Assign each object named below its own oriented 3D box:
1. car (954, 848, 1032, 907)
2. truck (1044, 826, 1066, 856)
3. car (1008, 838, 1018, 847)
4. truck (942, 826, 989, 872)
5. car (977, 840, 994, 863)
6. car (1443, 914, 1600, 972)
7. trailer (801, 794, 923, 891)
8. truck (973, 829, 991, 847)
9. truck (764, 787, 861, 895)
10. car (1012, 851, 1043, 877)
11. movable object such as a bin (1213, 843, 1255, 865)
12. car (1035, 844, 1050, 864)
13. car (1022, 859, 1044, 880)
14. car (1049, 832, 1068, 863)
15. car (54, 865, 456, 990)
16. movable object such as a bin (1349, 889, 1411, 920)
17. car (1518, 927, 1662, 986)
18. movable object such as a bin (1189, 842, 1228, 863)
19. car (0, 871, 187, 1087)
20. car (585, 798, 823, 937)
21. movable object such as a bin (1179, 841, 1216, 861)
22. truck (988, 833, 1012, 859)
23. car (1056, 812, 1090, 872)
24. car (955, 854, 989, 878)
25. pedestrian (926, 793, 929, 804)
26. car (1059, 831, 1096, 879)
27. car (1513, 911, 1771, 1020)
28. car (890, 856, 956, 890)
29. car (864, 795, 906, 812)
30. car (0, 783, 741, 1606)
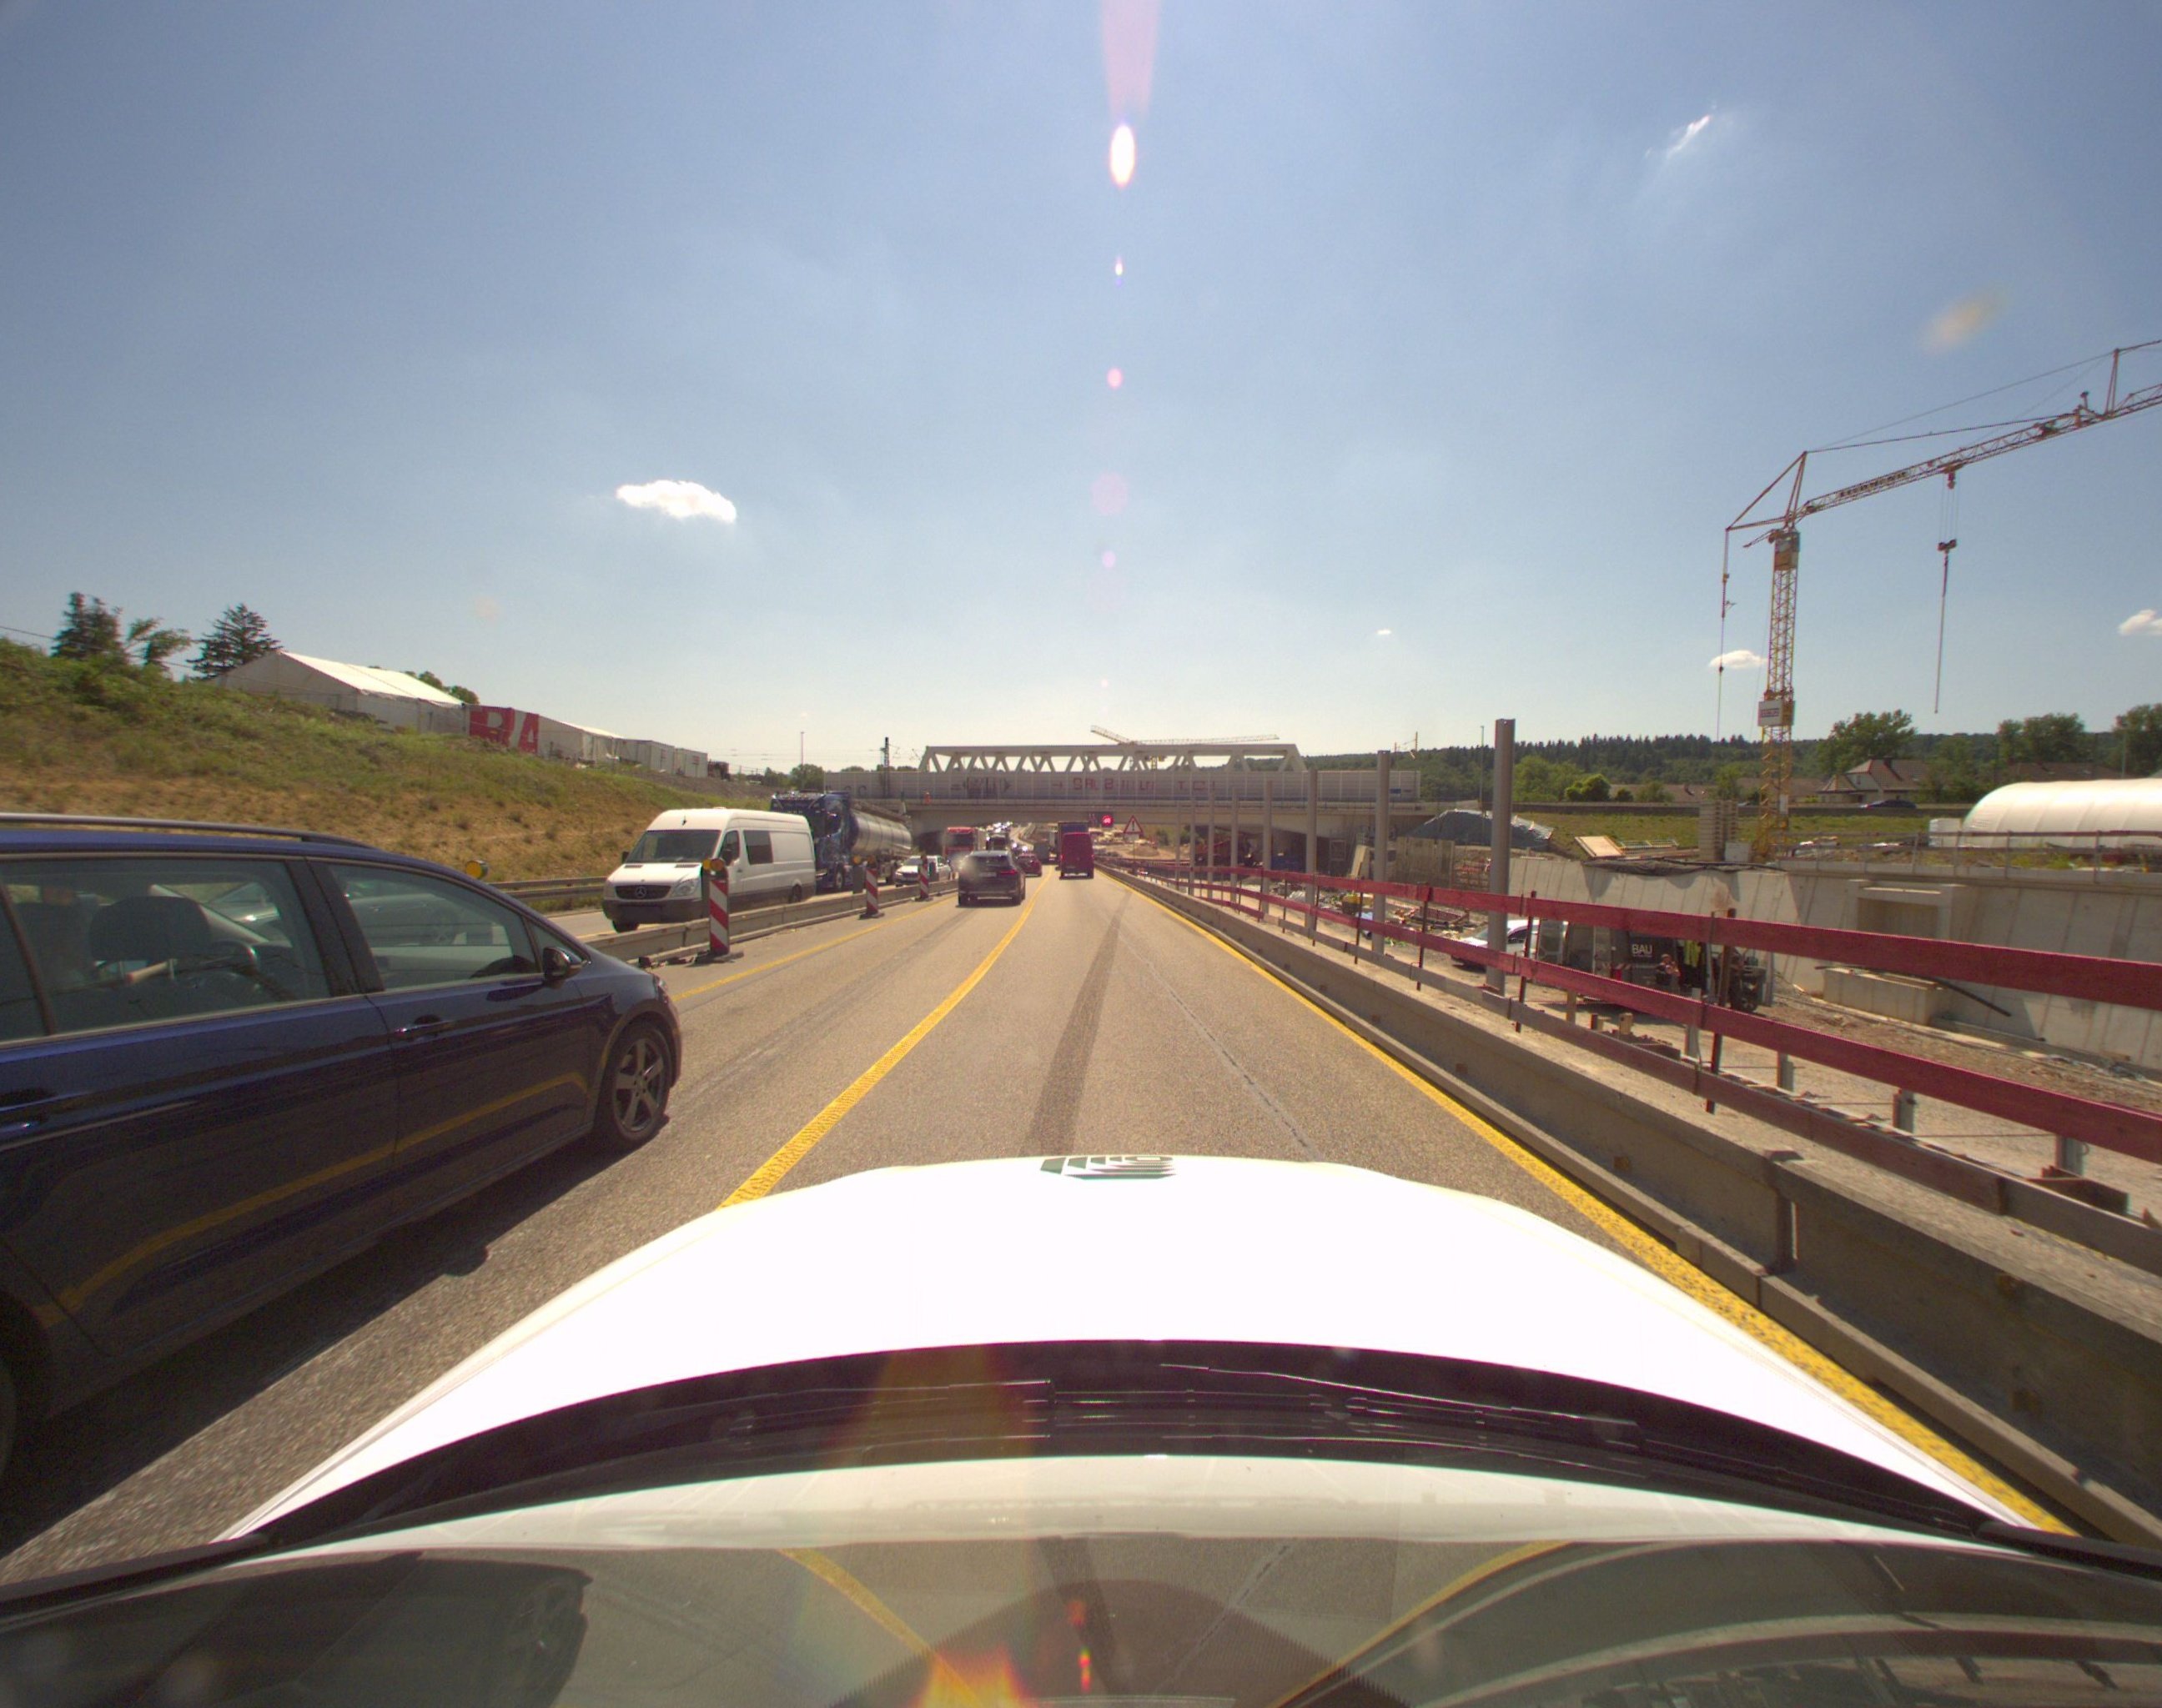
[{"bbox_3d":[-2.628,0.654,25.306,1.873,1.618,4.499,-1,1,0],"label":"car"},{"bbox_3d":[-5.030,-2.399,153.073,2.833,5.398,12.878,0,0,-7],"label":"truck"},{"bbox_3d":[-16.228,-2.730,194.842,1.995,2.013,3.983,0,0,-12],"label":"car"},{"bbox_3d":[-10.436,-0.446,74.847,2.827,3.852,12.904,0,1,-1],"label":"truck"},{"bbox_3d":[-11.517,-0.355,98.320,1.576,2.654,5.386,0,0,-3],"label":"car"},{"bbox_3d":[16.235,3.284,30.204,4.714,1.773,2.000,1,2,-1],"label":"car"},{"bbox_3d":[-10.225,-0.536,39.581,2.338,4.015,11.457,0,0,3],"label":"trailer"},{"bbox_3d":[-22.778,-3.654,186.846,2.838,3.852,12.856,0,1,-13],"label":"truck"},{"bbox_3d":[-10.564,-0.510,32.412,2.348,4.015,4.003,0,0,2],"label":"truck"},{"bbox_3d":[-3.386,0.627,52.467,1.771,1.517,4.204,-1,1,-1],"label":"car"},{"bbox_3d":[19.970,-0.027,106.611,5.125,2.807,2.144,0,0,3],"label":"movable object such as a bin"},{"bbox_3d":[-4.896,-0.068,103.264,1.771,2.441,4.202,-1,1,-3],"label":"car"},{"bbox_3d":[-4.175,1.299,70.804,1.835,1.654,4.160,-1,1,-3],"label":"car"},{"bbox_3d":[-3.218,-0.962,113.580,2.444,4.160,6.854,-1,1,-3],"label":"car"},{"bbox_3d":[-11.883,0.943,12.218,1.759,1.447,4.129,0,0,1],"label":"car"},{"bbox_3d":[17.301,2.904,47.132,3.067,1.563,1.563,0,0,33],"label":"movable object such as a bin"},{"bbox_3d":[16.859,3.397,27.075,3.755,1.668,1.764,1,2,-6],"label":"car"},{"bbox_3d":[17.768,-0.203,113.731,5.125,2.807,2.144,0,0,3],"label":"movable object such as a bin"},{"bbox_3d":[-8.298,0.890,4.438,1.796,1.447,4.634,0,1,-2],"label":"car"},{"bbox_3d":[-8.215,0.231,18.831,1.986,2.606,7.014,0,0,2],"label":"car"},{"bbox_3d":[16.882,-0.444,118.011,5.125,2.807,2.144,0,0,3],"label":"movable object such as a bin"},{"bbox_3d":[-12.661,-1.218,128.422,2.828,3.852,12.901,0,1,-2],"label":"truck"},{"bbox_3d":[-0.811,-1.099,73.909,2.615,5.032,10.387,-1,1,-2],"label":"car"},{"bbox_3d":[-6.971,0.750,52.564,1.829,1.446,4.151,0,0,-3],"label":"car"},{"bbox_3d":[-18.096,-6.570,96.071,0.334,1.211,0.309,0,0,11],"label":"pedestrian"},{"bbox_3d":[-0.254,0.043,48.930,1.984,2.690,4.619,-1,1,-3],"label":"car"},{"bbox_3d":[15.946,3.059,23.285,6.092,2.584,2.520,1,2,-12],"label":"car"},{"bbox_3d":[-7.071,0.817,36.899,1.809,1.383,4.588,0,1,3],"label":"car"},{"bbox_3d":[-23.702,-6.093,98.472,4.524,1.783,1.966,0,0,11],"label":"car"},{"bbox_3d":[-3.116,0.685,2.843,1.769,1.718,4.654,0,1,1],"label":"car"}]
